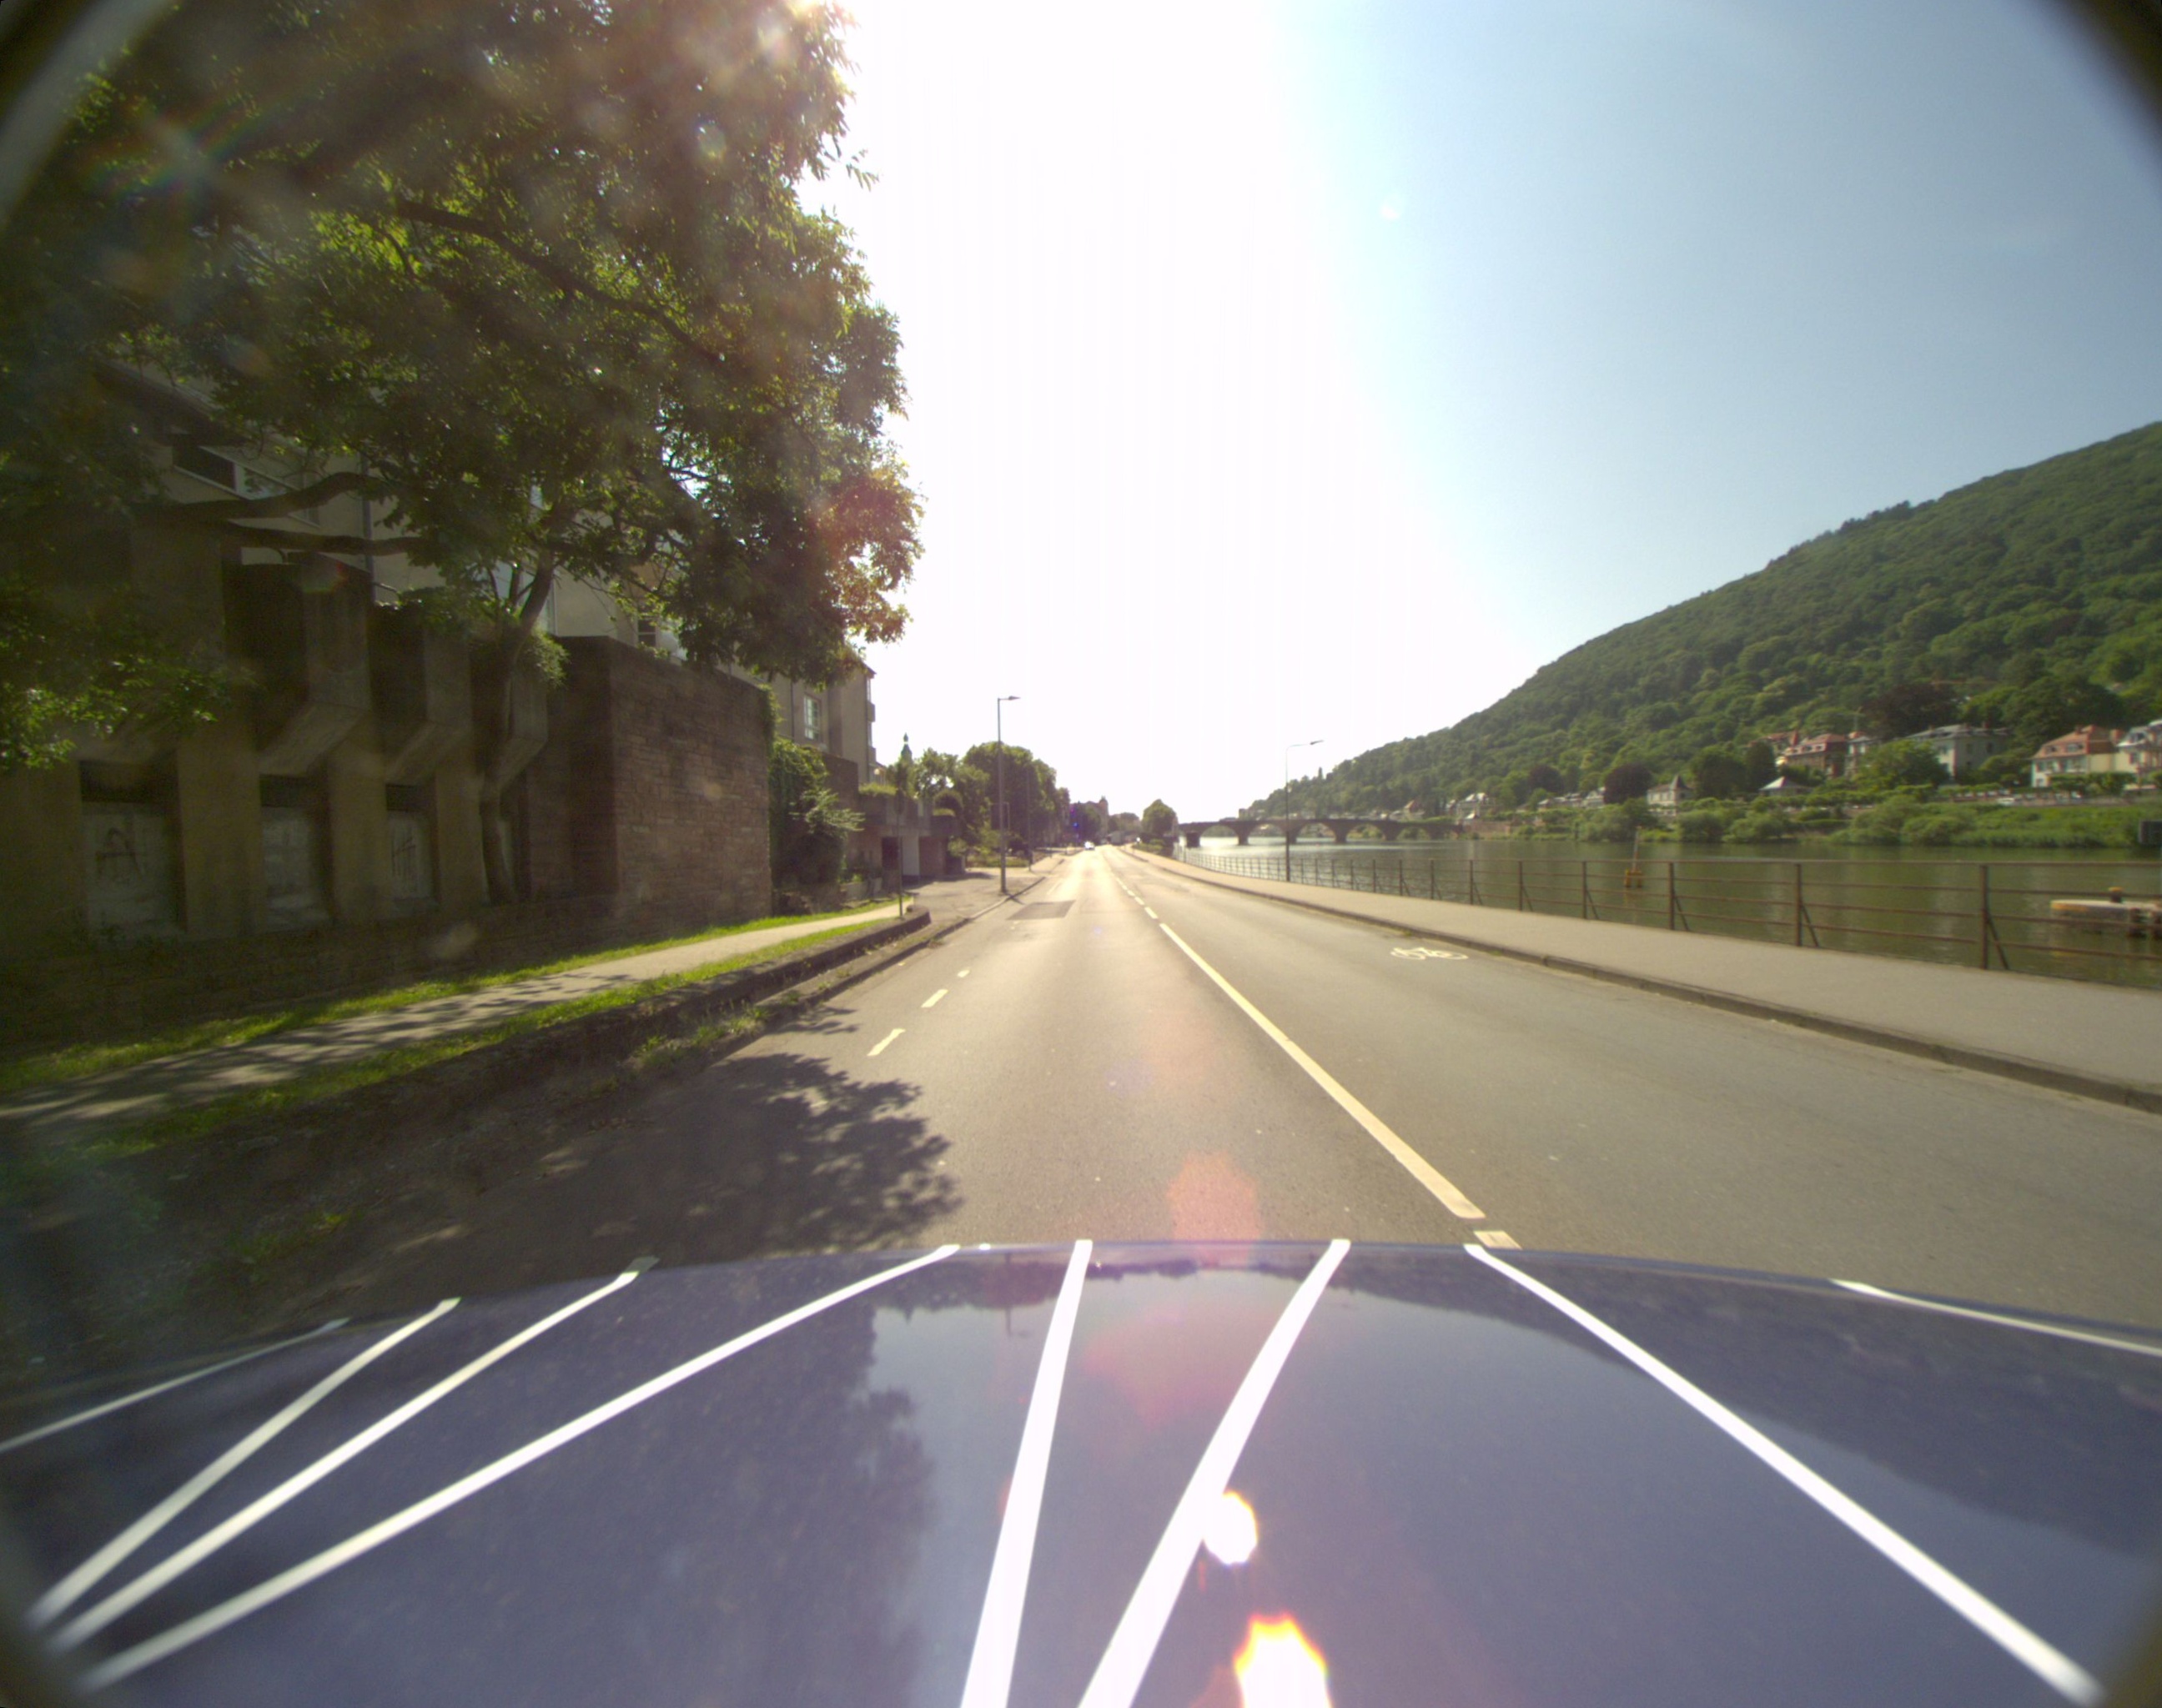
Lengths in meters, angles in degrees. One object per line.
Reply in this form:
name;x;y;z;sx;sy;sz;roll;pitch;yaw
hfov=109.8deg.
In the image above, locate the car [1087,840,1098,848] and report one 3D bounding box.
car;2.197;-1.949;146.313;1.998;1.433;4.001;0;0;3
